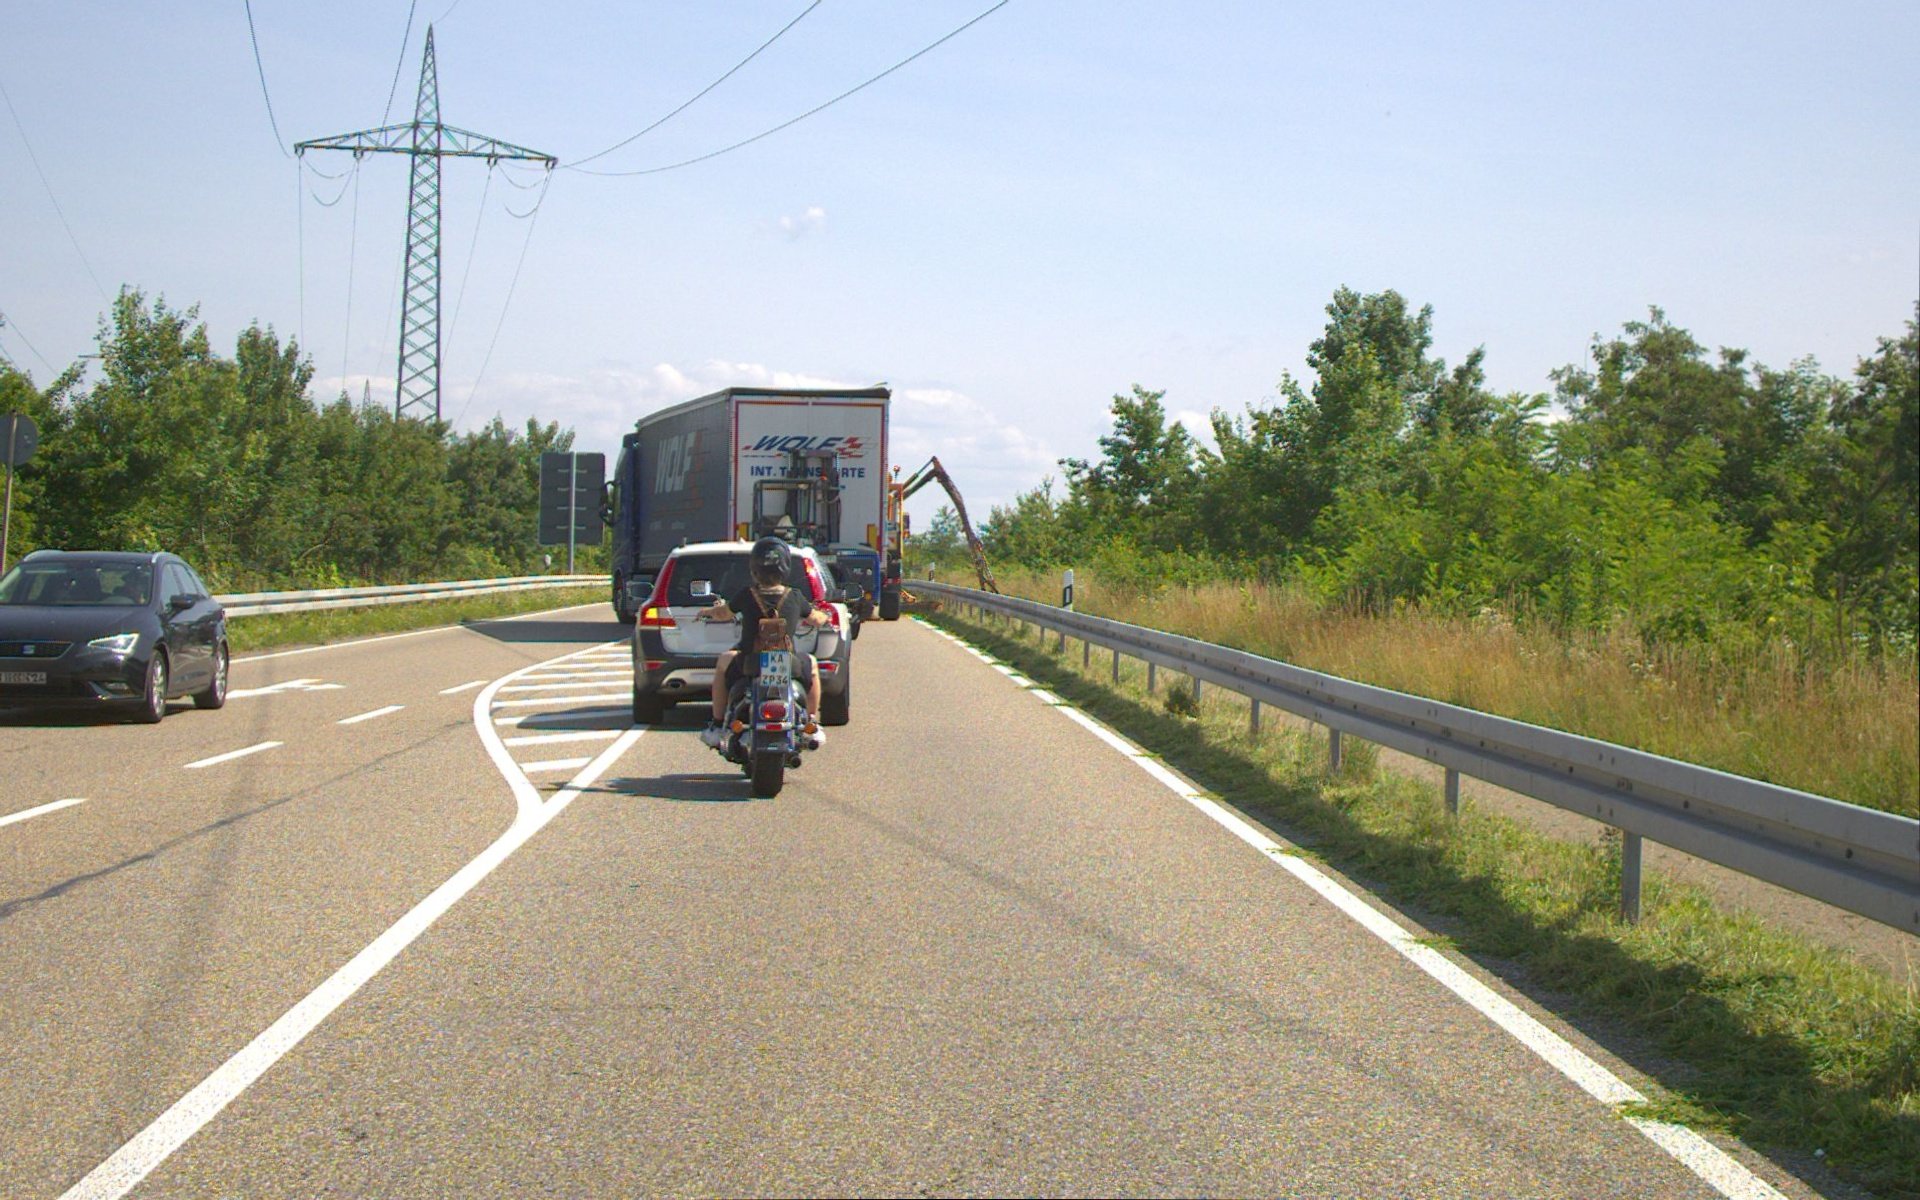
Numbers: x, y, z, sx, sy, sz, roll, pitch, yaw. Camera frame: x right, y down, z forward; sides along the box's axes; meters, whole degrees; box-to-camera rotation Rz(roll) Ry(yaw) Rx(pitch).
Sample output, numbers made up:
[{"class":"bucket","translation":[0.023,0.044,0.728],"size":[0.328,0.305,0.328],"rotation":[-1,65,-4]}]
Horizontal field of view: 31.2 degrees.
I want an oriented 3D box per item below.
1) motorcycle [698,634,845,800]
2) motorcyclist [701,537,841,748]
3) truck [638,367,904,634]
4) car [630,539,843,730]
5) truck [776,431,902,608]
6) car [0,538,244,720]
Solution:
[{"class":"motorcycle","translation":[-1.188,0.701,21.397],"size":[0.858,0.912,2.228],"rotation":[0,1,-4]},{"class":"motorcyclist","translation":[-1.183,0.255,21.445],"size":[0.837,1.276,0.919],"rotation":[1,1,-4]},{"class":"truck","translation":[-3.665,-1.700,61.708],"size":[2.967,4.172,14.826],"rotation":[1,1,-10]},{"class":"car","translation":[-1.881,0.256,29.769],"size":[1.701,1.531,3.499],"rotation":[1,1,-2]},{"class":"truck","translation":[-2.732,-1.765,76.272],"size":[2.613,3.698,6.778],"rotation":[1,1,-3]},{"class":"car","translation":[-7.415,0.194,29.696],"size":[1.659,1.437,4.215],"rotation":[1,1,-1]}]
